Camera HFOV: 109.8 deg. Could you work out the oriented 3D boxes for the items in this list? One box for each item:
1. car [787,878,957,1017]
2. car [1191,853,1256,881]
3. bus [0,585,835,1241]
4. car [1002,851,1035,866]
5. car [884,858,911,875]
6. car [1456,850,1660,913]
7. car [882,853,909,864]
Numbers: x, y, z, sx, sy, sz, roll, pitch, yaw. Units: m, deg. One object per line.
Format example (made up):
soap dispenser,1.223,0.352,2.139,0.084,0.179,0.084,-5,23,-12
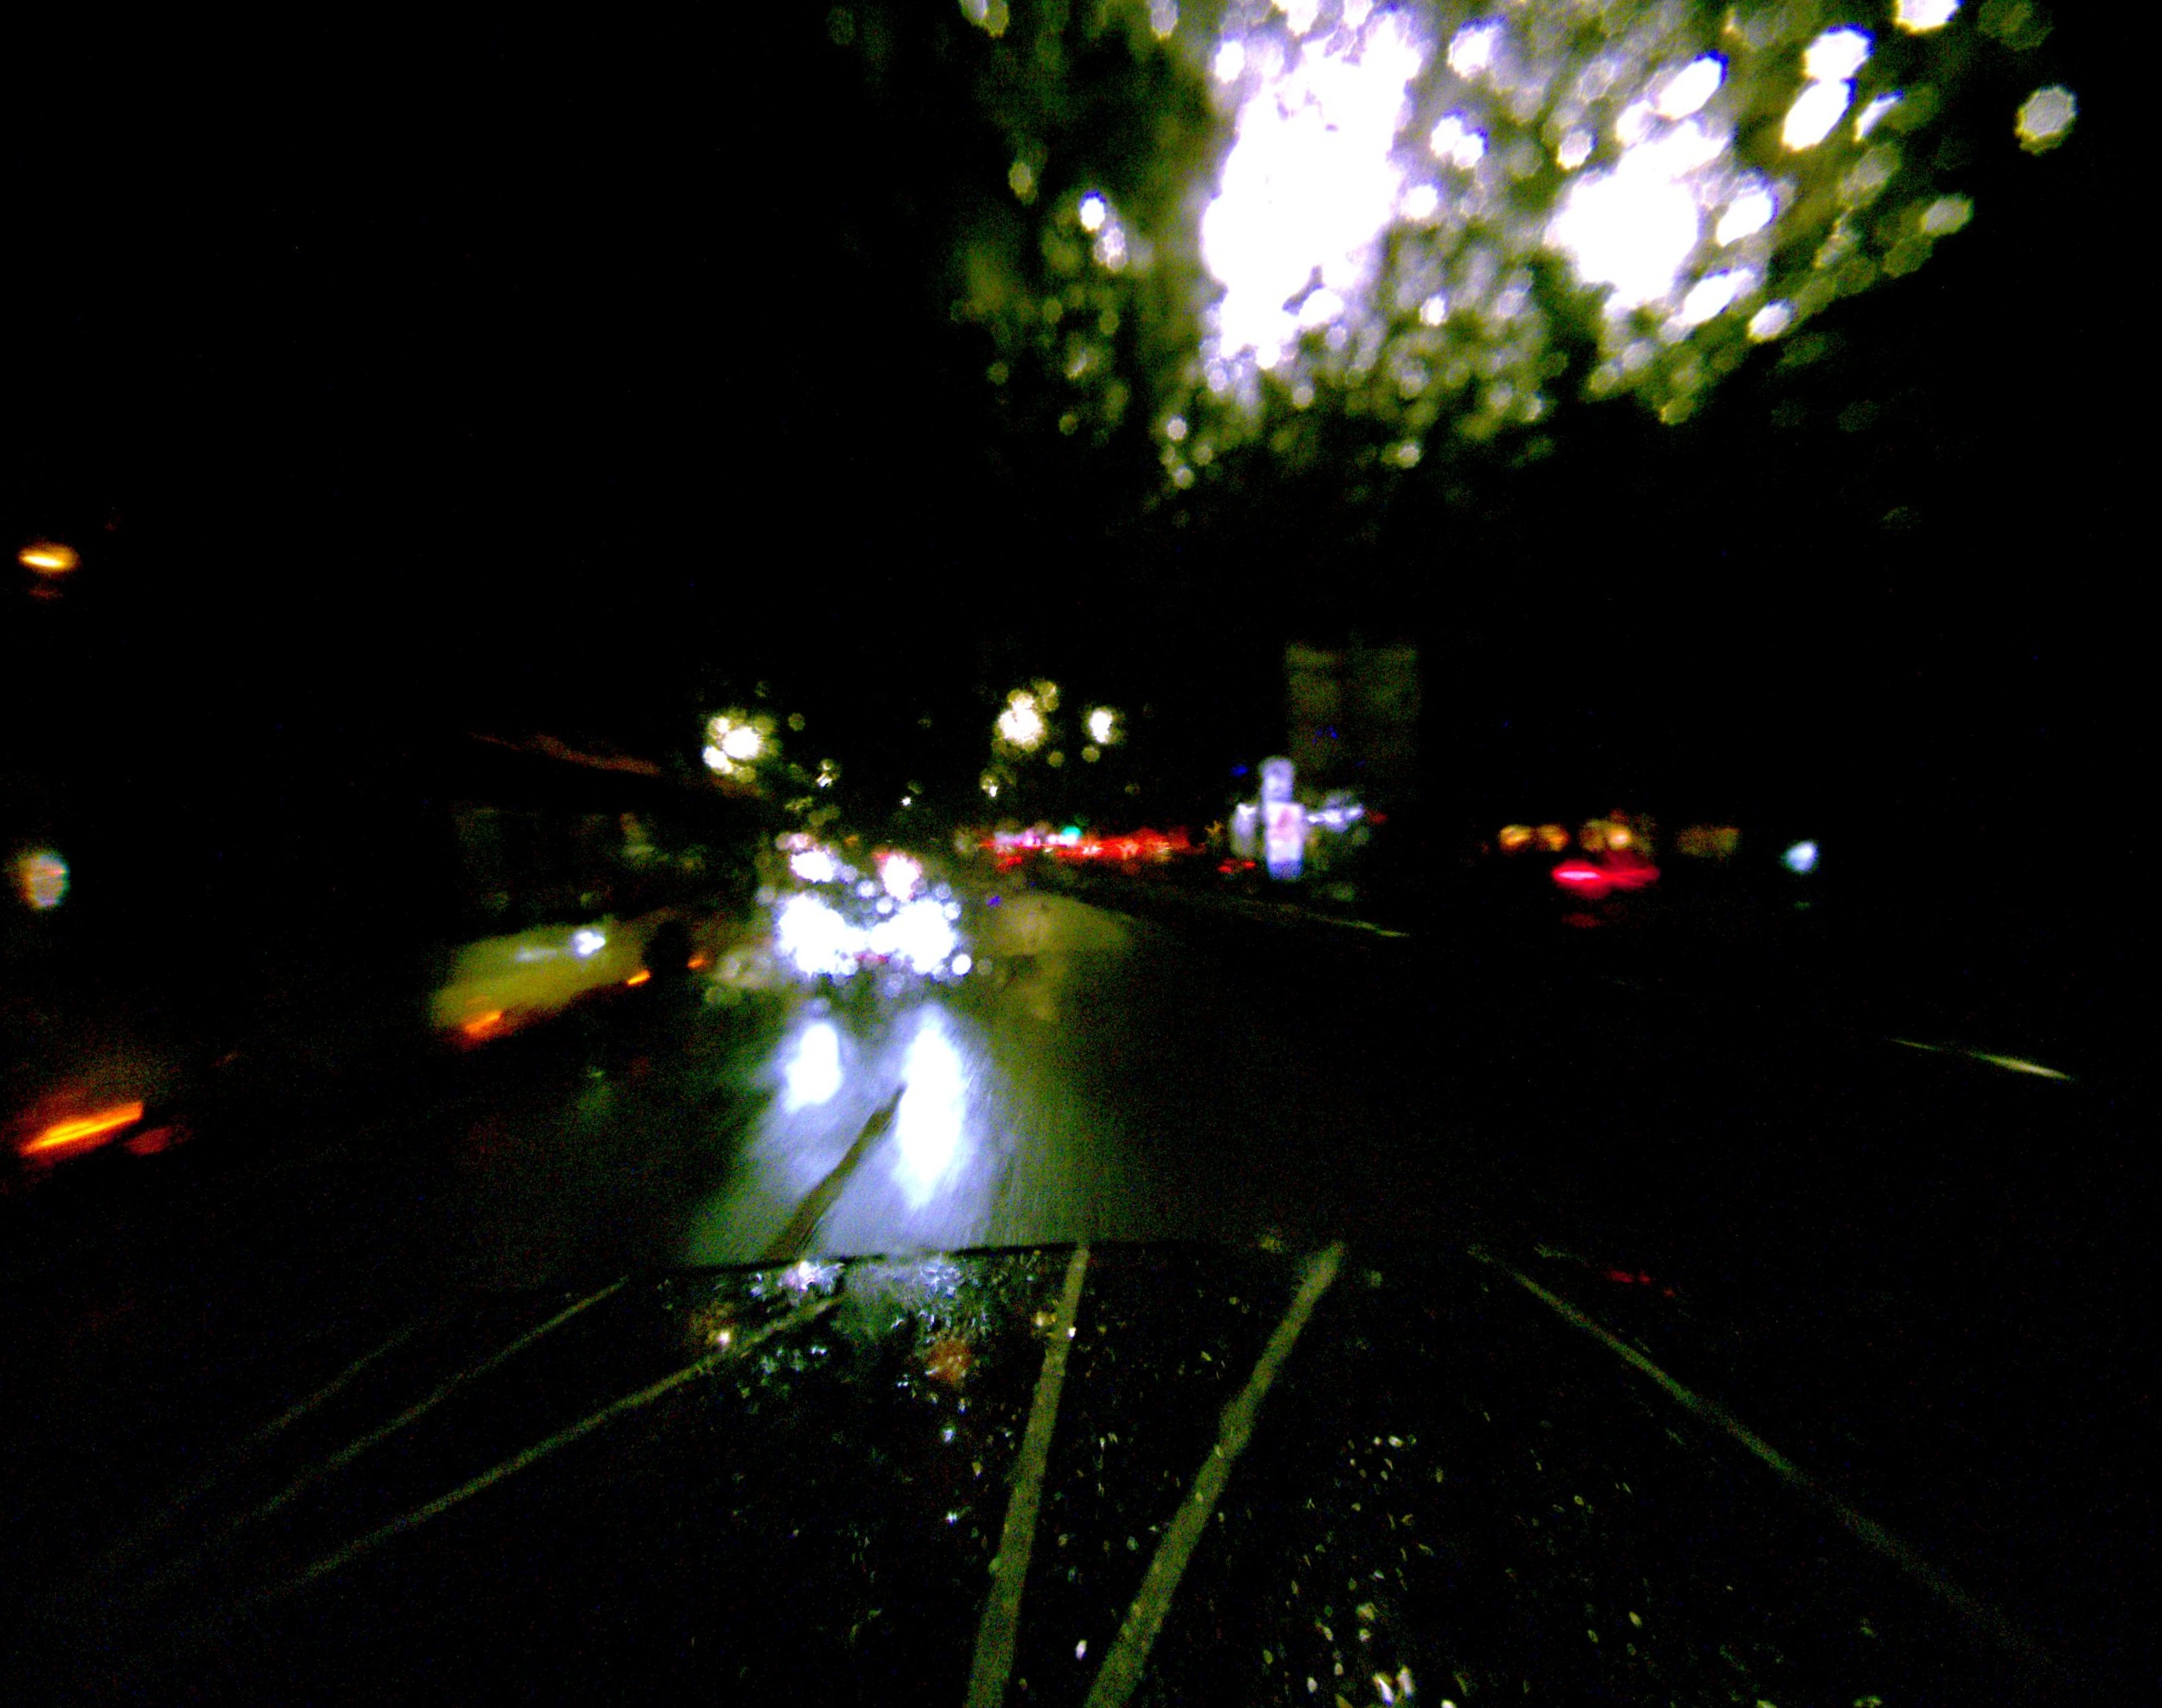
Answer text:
car,-2.891,1.203,11.387,1.725,1.478,4.160,-5,0,-7
car,7.880,0.693,42.534,1.901,1.381,4.836,-2,0,-11
bus,-5.888,0.327,8.617,2.740,3.219,9.700,-2,0,1
car,-6.450,0.483,77.943,1.903,1.381,4.832,-2,0,-24
car,-16.335,1.092,67.583,1.613,1.438,3.965,0,0,-24
car,12.176,0.632,19.878,1.901,1.381,4.838,-2,0,-6
car,-25.302,0.571,103.565,1.904,1.381,4.829,-2,0,-34
